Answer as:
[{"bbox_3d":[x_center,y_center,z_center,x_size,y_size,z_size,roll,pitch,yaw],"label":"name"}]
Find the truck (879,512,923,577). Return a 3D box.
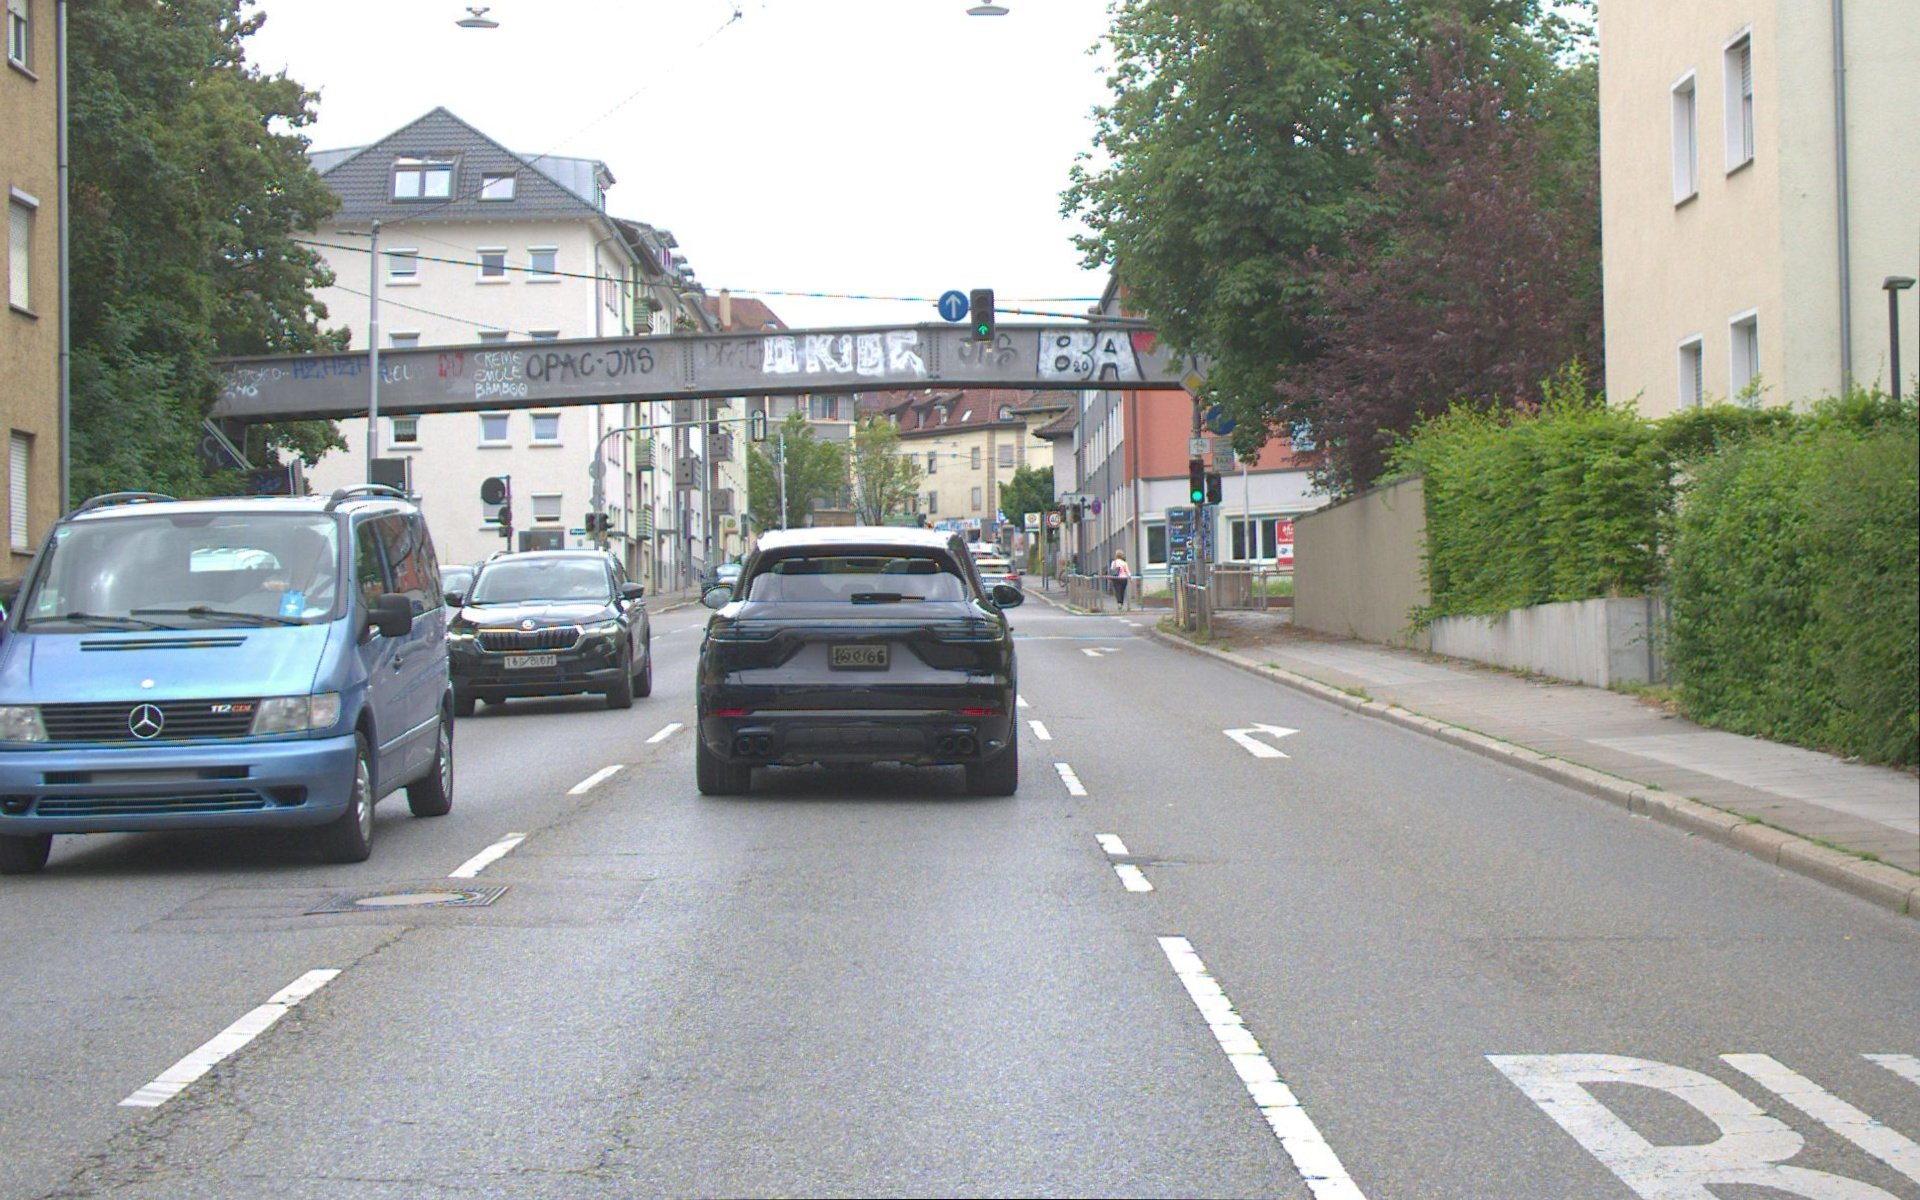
[{"bbox_3d":[-3.167,-2.959,186.489,2.266,3.413,9.878,-1,0,-1],"label":"truck"}]

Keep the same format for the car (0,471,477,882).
[{"bbox_3d":[-3.878,0.331,18.477,1.931,1.894,4.590,-1,1,-1],"label":"car"}]

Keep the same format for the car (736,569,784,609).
[{"bbox_3d":[-8.564,-0.492,147.402,1.765,1.644,4.000,-1,0,0],"label":"car"}]

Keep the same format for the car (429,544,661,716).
[{"bbox_3d":[-4.147,0.268,34.910,1.840,1.585,4.164,-2,0,-1],"label":"car"}]

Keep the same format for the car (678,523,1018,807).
[{"bbox_3d":[-0.668,0.341,22.264,1.993,1.656,4.000,-1,1,0],"label":"car"}]

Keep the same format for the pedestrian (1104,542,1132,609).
[{"bbox_3d":[4.263,-0.668,92.713,0.652,1.786,0.715,-1,0,-3],"label":"pedestrian"}]

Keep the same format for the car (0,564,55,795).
[{"bbox_3d":[-7.606,0.611,23.122,1.783,1.603,4.264,-3,1,1],"label":"car"}]

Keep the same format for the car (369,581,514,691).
[{"bbox_3d":[-7.985,0.520,53.213,1.745,1.563,3.908,-3,0,-2],"label":"car"}]

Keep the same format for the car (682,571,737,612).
[{"bbox_3d":[-9.514,-0.317,130.868,1.765,1.503,4.000,-1,0,0],"label":"car"}]

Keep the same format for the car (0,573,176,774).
[{"bbox_3d":[-7.788,0.573,28.492,1.751,1.525,4.099,-2,1,-2],"label":"car"}]

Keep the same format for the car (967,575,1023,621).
[{"bbox_3d":[1.120,-0.089,111.281,1.741,1.395,4.000,-1,1,0],"label":"car"}]
